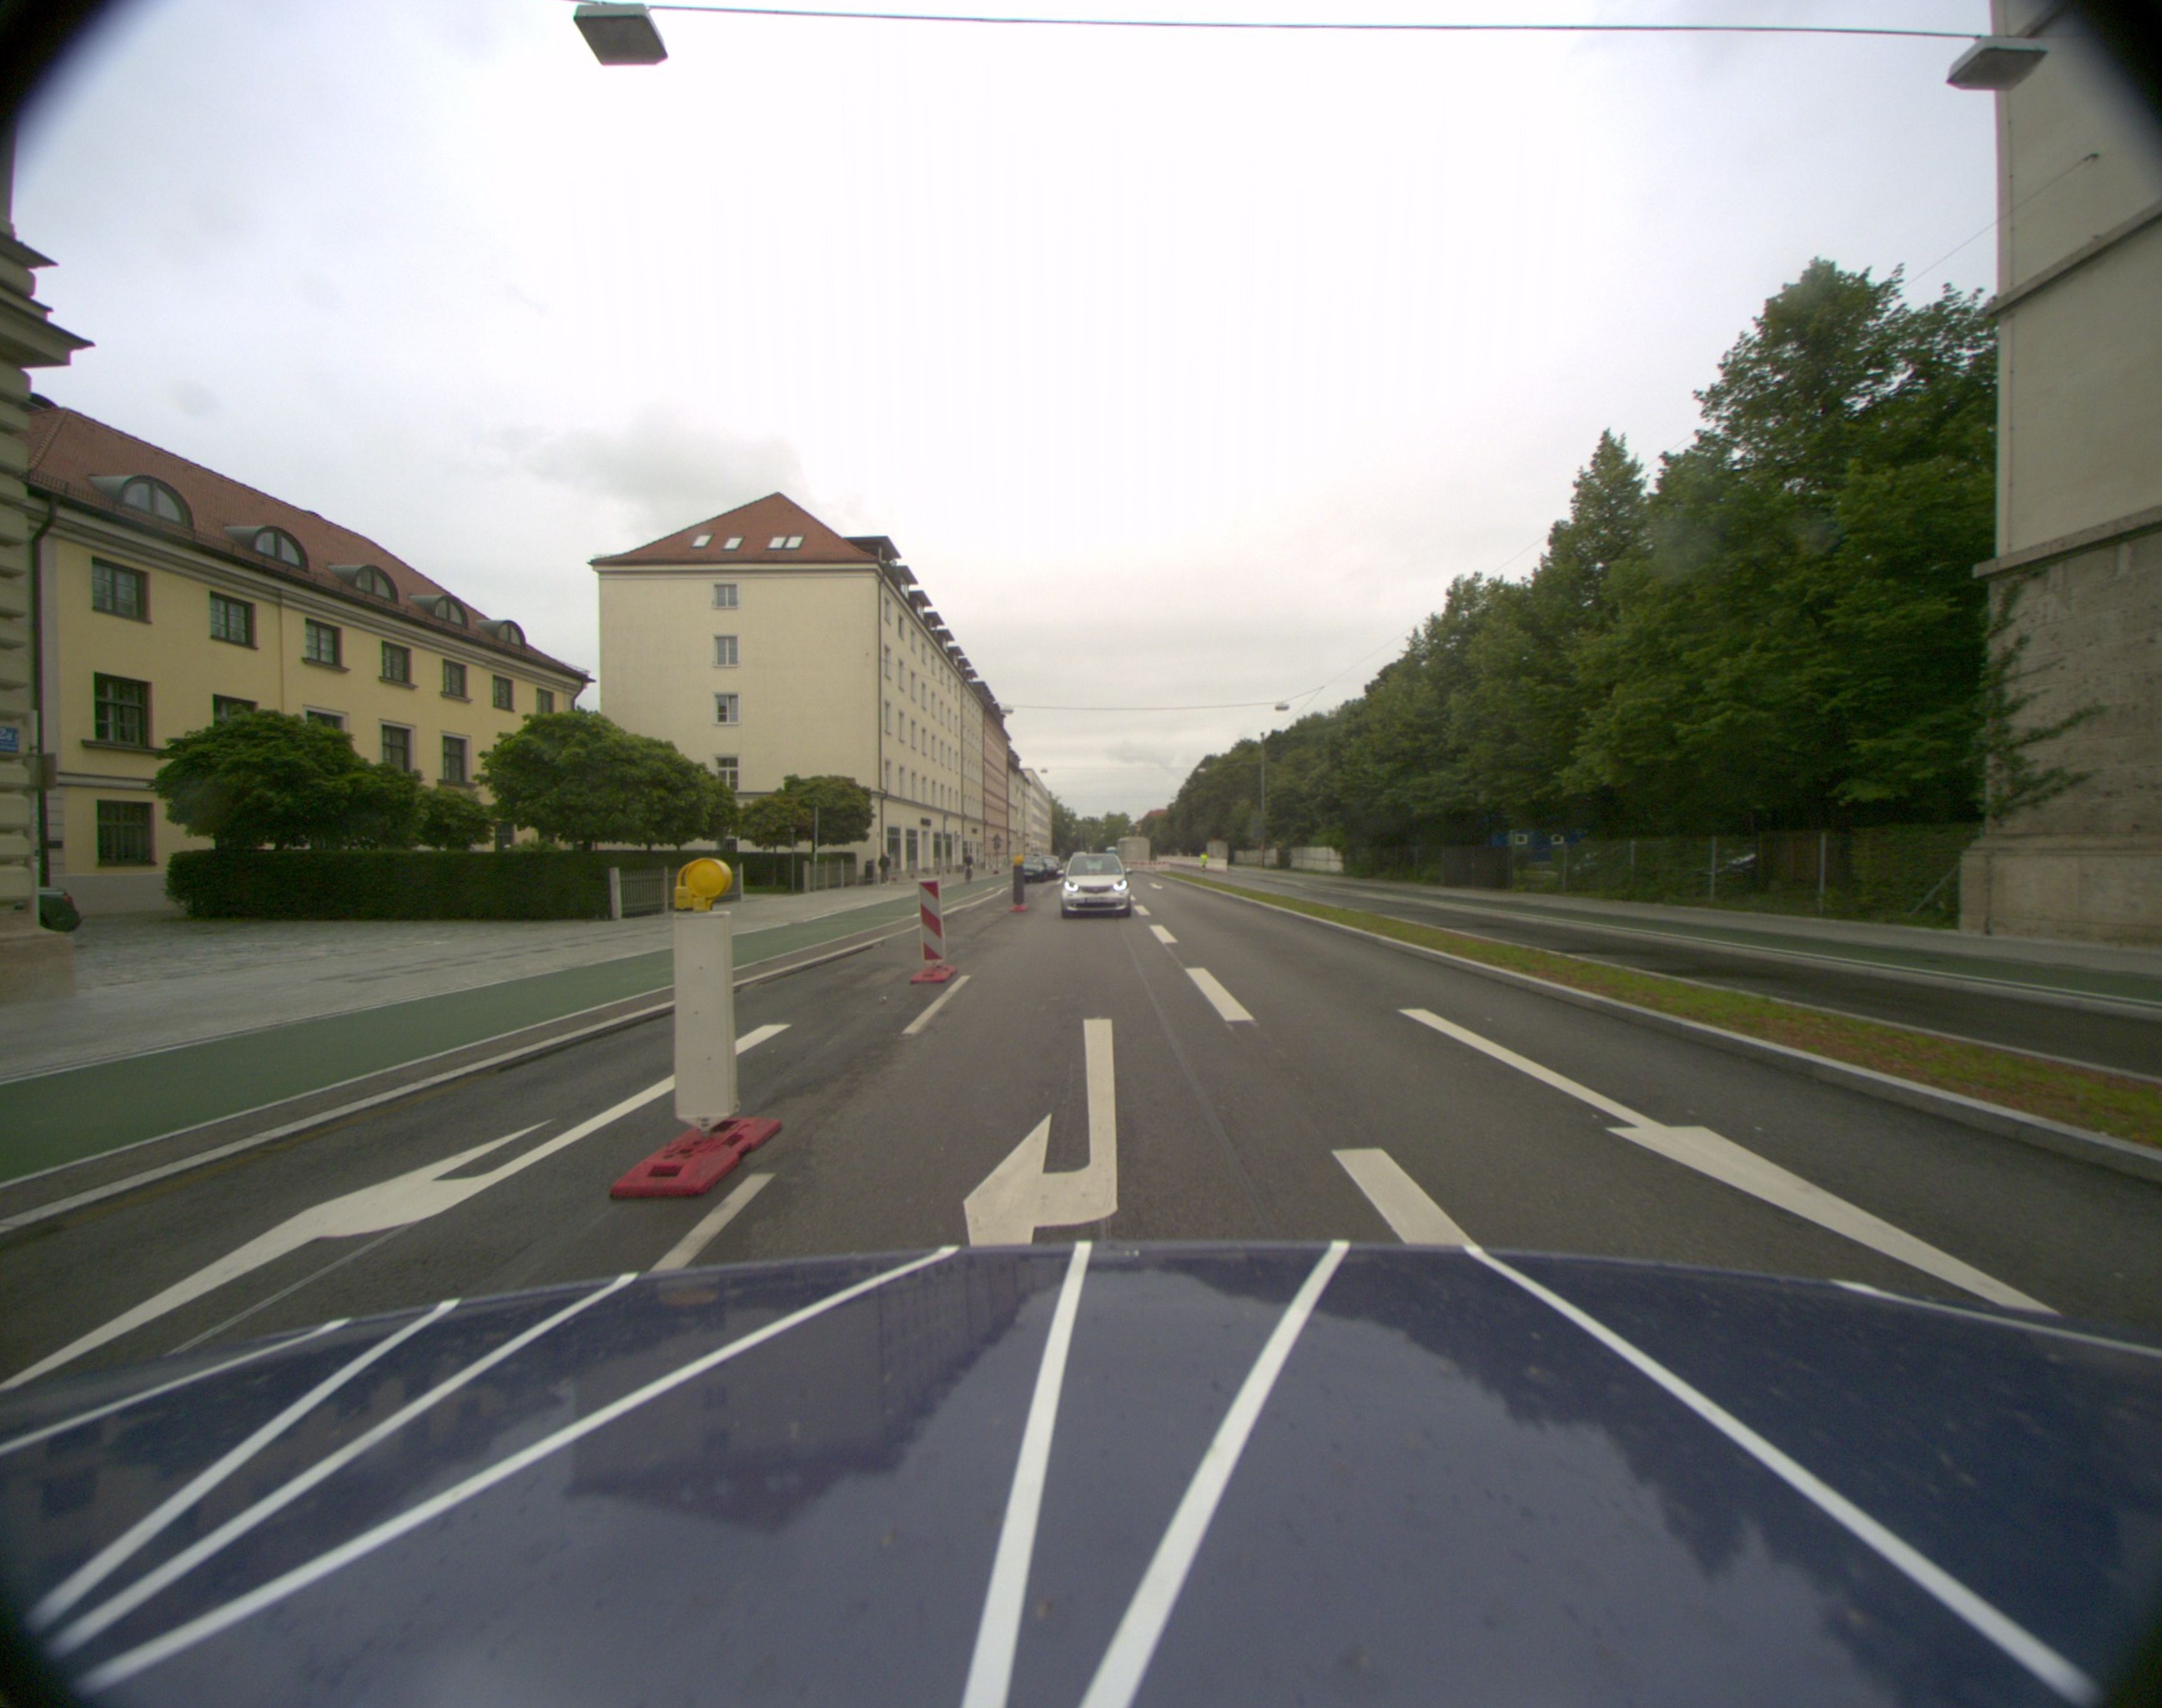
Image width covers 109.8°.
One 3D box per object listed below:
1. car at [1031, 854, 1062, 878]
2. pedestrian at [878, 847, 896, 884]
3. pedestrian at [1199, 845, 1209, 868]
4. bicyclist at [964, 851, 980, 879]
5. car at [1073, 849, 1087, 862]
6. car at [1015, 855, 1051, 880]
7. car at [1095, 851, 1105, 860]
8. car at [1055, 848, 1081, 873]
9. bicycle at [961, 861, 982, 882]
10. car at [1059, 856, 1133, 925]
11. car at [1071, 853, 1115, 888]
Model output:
[{"bbox_3d":[-2.161,0.770,48.906,1.739,1.425,4.000,-1,0,1],"label":"car"},{"bbox_3d":[-9.713,0.567,38.095,0.655,1.863,0.826,1,1,1],"label":"pedestrian"},{"bbox_3d":[10.812,0.235,66.819,0.757,2.002,0.867,-2,1,1],"label":"pedestrian"},{"bbox_3d":[-6.058,0.595,42.334,0.724,1.543,0.858,-2,1,1],"label":"bicyclist"},{"bbox_3d":[-0.146,0.239,121.222,1.998,2.002,4.000,0,0,1],"label":"car"},{"bbox_3d":[-2.728,0.759,43.674,1.739,1.313,4.000,-1,0,1],"label":"car"},{"bbox_3d":[3.372,0.224,134.838,1.739,1.425,4.000,-1,0,1],"label":"car"},{"bbox_3d":[-1.029,0.523,62.086,1.998,2.002,4.000,0,0,0],"label":"car"},{"bbox_3d":[-6.050,0.951,42.104,0.751,1.026,2.531,-2,0,1],"label":"bicycle"},{"bbox_3d":[0.360,0.816,19.054,1.633,1.494,4.000,-1,0,1],"label":"car"},{"bbox_3d":[0.563,0.733,36.088,1.922,1.433,4.306,-2,0,1],"label":"car"}]
